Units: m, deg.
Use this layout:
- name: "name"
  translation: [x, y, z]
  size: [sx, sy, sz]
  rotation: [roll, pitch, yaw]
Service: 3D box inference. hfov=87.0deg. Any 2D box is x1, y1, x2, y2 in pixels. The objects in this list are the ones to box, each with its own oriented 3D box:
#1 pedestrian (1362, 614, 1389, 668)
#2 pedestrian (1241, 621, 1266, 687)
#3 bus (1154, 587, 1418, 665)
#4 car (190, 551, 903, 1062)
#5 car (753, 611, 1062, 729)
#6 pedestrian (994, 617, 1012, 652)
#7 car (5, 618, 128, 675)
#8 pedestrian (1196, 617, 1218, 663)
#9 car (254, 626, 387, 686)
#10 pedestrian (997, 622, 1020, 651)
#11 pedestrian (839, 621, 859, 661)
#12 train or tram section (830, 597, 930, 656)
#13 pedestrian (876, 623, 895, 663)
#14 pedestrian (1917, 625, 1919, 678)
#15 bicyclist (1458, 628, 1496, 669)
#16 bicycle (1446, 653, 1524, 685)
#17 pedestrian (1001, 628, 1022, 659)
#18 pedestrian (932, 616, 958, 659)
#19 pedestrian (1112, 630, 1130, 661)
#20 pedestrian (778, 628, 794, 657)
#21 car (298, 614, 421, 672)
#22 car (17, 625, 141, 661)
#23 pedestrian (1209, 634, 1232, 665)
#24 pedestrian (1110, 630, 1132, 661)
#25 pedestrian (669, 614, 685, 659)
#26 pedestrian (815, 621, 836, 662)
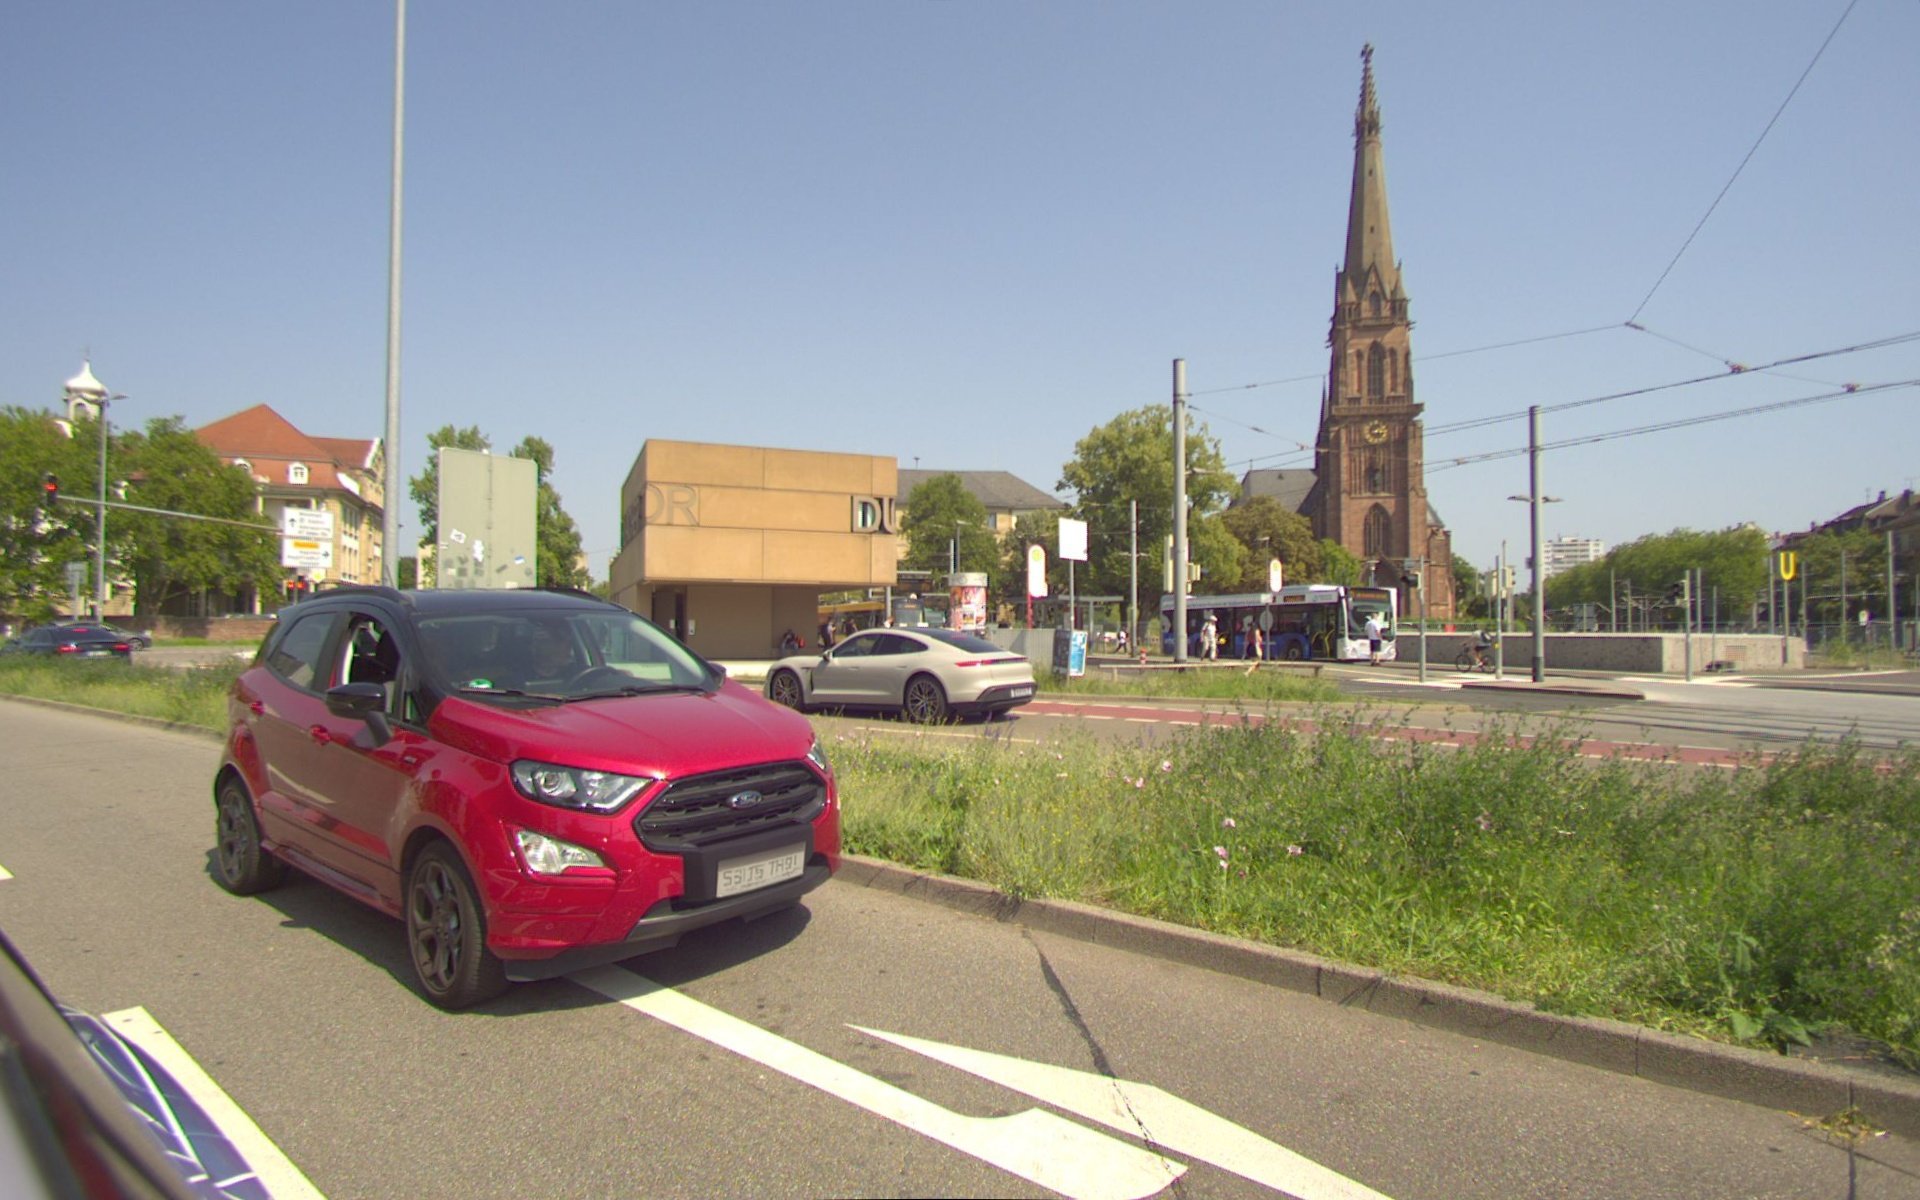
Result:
- name: "pedestrian"
  translation: [14.189, 1.392, 34.580]
  size: [0.592, 1.825, 0.639]
  rotation: [-1, 0, -39]
- name: "pedestrian"
  translation: [8.326, 1.523, 28.743]
  size: [0.632, 1.825, 0.599]
  rotation: [-1, 0, 15]
- name: "bus"
  translation: [12.814, 1.111, 41.920]
  size: [3.346, 2.733, 12.382]
  rotation: [1, -2, -21]
- name: "car"
  translation: [-2.269, 0.682, 5.050]
  size: [3.841, 1.598, 1.673]
  rotation: [-2, -1, 39]
- name: "car"
  translation: [-0.922, 1.017, 15.954]
  size: [4.707, 1.597, 1.975]
  rotation: [-1, -2, 37]
- name: "pedestrian"
  translation: [2.292, 1.853, 54.209]
  size: [0.792, 1.837, 0.535]
  rotation: [1, -2, -22]
- name: "car"
  translation: [-23.893, 1.221, 27.047]
  size: [3.465, 1.437, 1.510]
  rotation: [-1, -2, 32]
- name: "pedestrian"
  translation: [9.303, 1.514, 38.095]
  size: [0.527, 1.724, 0.695]
  rotation: [1, -2, -14]
- name: "car"
  translation: [-16.974, 1.454, 26.850]
  size: [3.463, 1.490, 1.511]
  rotation: [-1, -2, 29]
- name: "pedestrian"
  translation: [2.893, 2.165, 60.371]
  size: [1.060, 1.709, 1.068]
  rotation: [1, -2, -22]
- name: "pedestrian"
  translation: [-4.275, 1.581, 38.976]
  size: [0.541, 1.508, 0.532]
  rotation: [-1, -3, 39]
- name: "train or tram section"
  translation: [-5.510, 1.783, 65.995]
  size: [2.658, 3.465, 13.464]
  rotation: [1, -2, -22]
- name: "pedestrian"
  translation: [-2.872, 1.648, 39.043]
  size: [0.541, 1.508, 0.532]
  rotation: [-1, -3, 39]
- name: "pedestrian"
  translation: [28.748, 1.503, 29.564]
  size: [0.848, 1.555, 0.742]
  rotation: [0, -2, 4]
- name: "bicyclist"
  translation: [18.739, 1.735, 36.680]
  size: [0.644, 1.438, 1.012]
  rotation: [-1, 0, -26]
- name: "bicycle"
  translation: [18.831, 2.471, 36.393]
  size: [0.945, 1.050, 2.369]
  rotation: [1, -2, -27]
- name: "pedestrian"
  translation: [3.087, 2.616, 60.453]
  size: [0.913, 1.837, 0.940]
  rotation: [1, -2, -22]
- name: "pedestrian"
  translation: [-0.529, 1.335, 35.882]
  size: [0.605, 1.508, 0.761]
  rotation: [-1, -3, 39]
- name: "pedestrian"
  translation: [9.116, 2.561, 57.379]
  size: [0.695, 1.720, 0.770]
  rotation: [1, -2, -33]
- name: "pedestrian"
  translation: [-6.754, 1.651, 39.365]
  size: [0.530, 1.108, 0.543]
  rotation: [1, -2, -18]
- name: "car"
  translation: [-20.498, 1.435, 34.536]
  size: [3.898, 1.868, 1.851]
  rotation: [0, -2, 28]
- name: "car"
  translation: [-41.022, 1.987, 47.242]
  size: [1.789, 1.630, 3.966]
  rotation: [-1, -2, 24]
- name: "pedestrian"
  translation: [9.895, 1.871, 38.473]
  size: [0.627, 1.134, 0.603]
  rotation: [-1, 0, -15]
- name: "pedestrian"
  translation: [9.103, 2.559, 57.327]
  size: [0.832, 1.709, 0.961]
  rotation: [1, -2, -22]
- name: "pedestrian"
  translation: [-10.410, 1.341, 37.187]
  size: [0.532, 1.637, 0.690]
  rotation: [1, -2, -15]
- name: "pedestrian"
  translation: [-5.073, 1.569, 38.196]
  size: [0.541, 1.508, 0.532]
  rotation: [-1, -3, 39]
